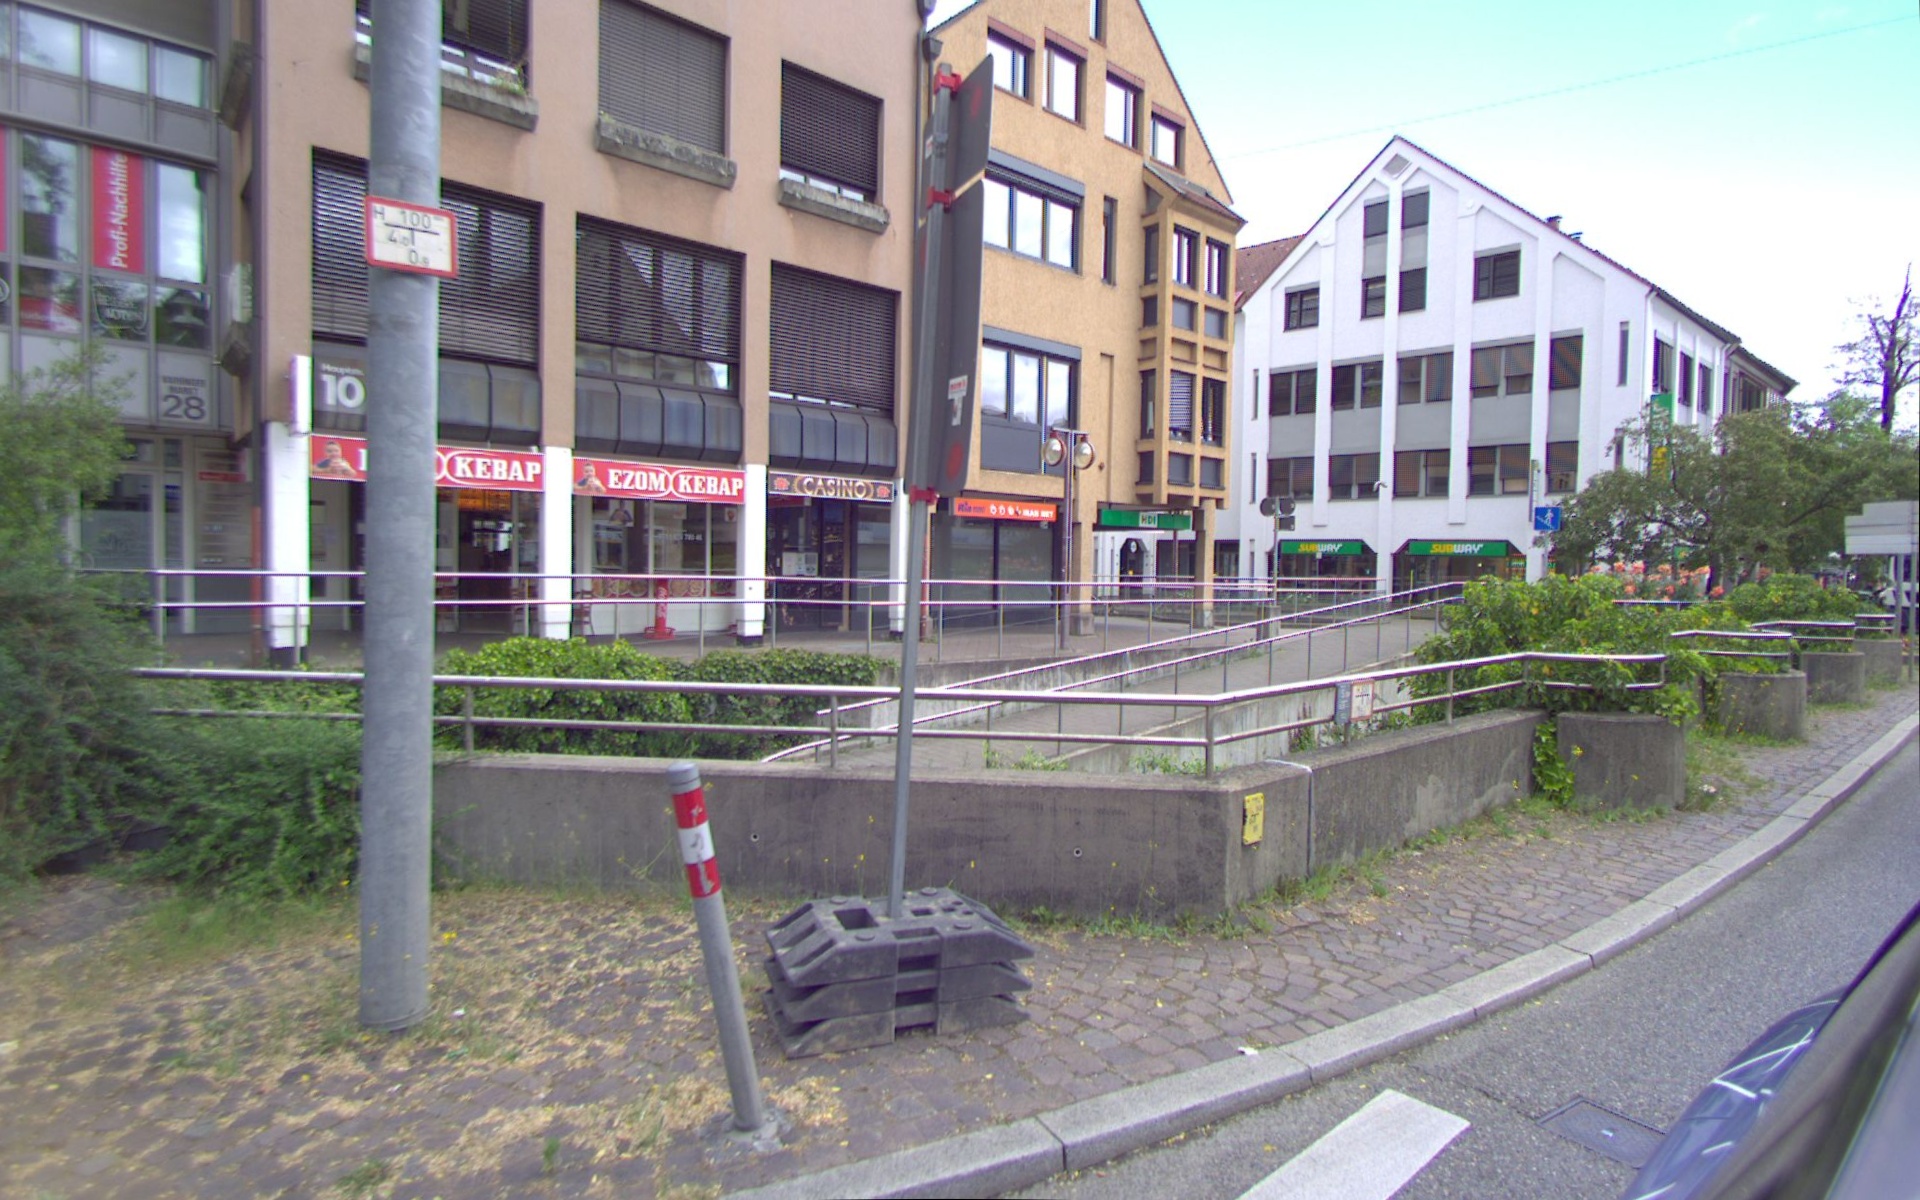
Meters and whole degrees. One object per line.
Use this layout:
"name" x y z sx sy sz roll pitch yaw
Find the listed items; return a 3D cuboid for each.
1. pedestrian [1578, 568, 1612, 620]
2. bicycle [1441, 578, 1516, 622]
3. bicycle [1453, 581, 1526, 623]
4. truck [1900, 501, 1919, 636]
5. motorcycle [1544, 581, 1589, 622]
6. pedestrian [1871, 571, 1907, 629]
"pedestrian" 22.316 -0.236 35.555 0.882 1.779 0.932 2 2 38
"bicycle" 12.733 -0.016 24.890 1.584 1.014 0.409 2 2 36
"bicycle" 13.279 0.042 25.396 1.583 0.981 0.456 2 2 35
"truck" 28.673 -0.893 28.414 8.202 3.528 2.444 -1 1 -41
"motorcycle" 16.575 0.025 27.627 1.961 1.081 0.464 -1 2 -41
"pedestrian" 26.129 -0.003 28.469 0.672 1.596 0.653 0 1 -41
